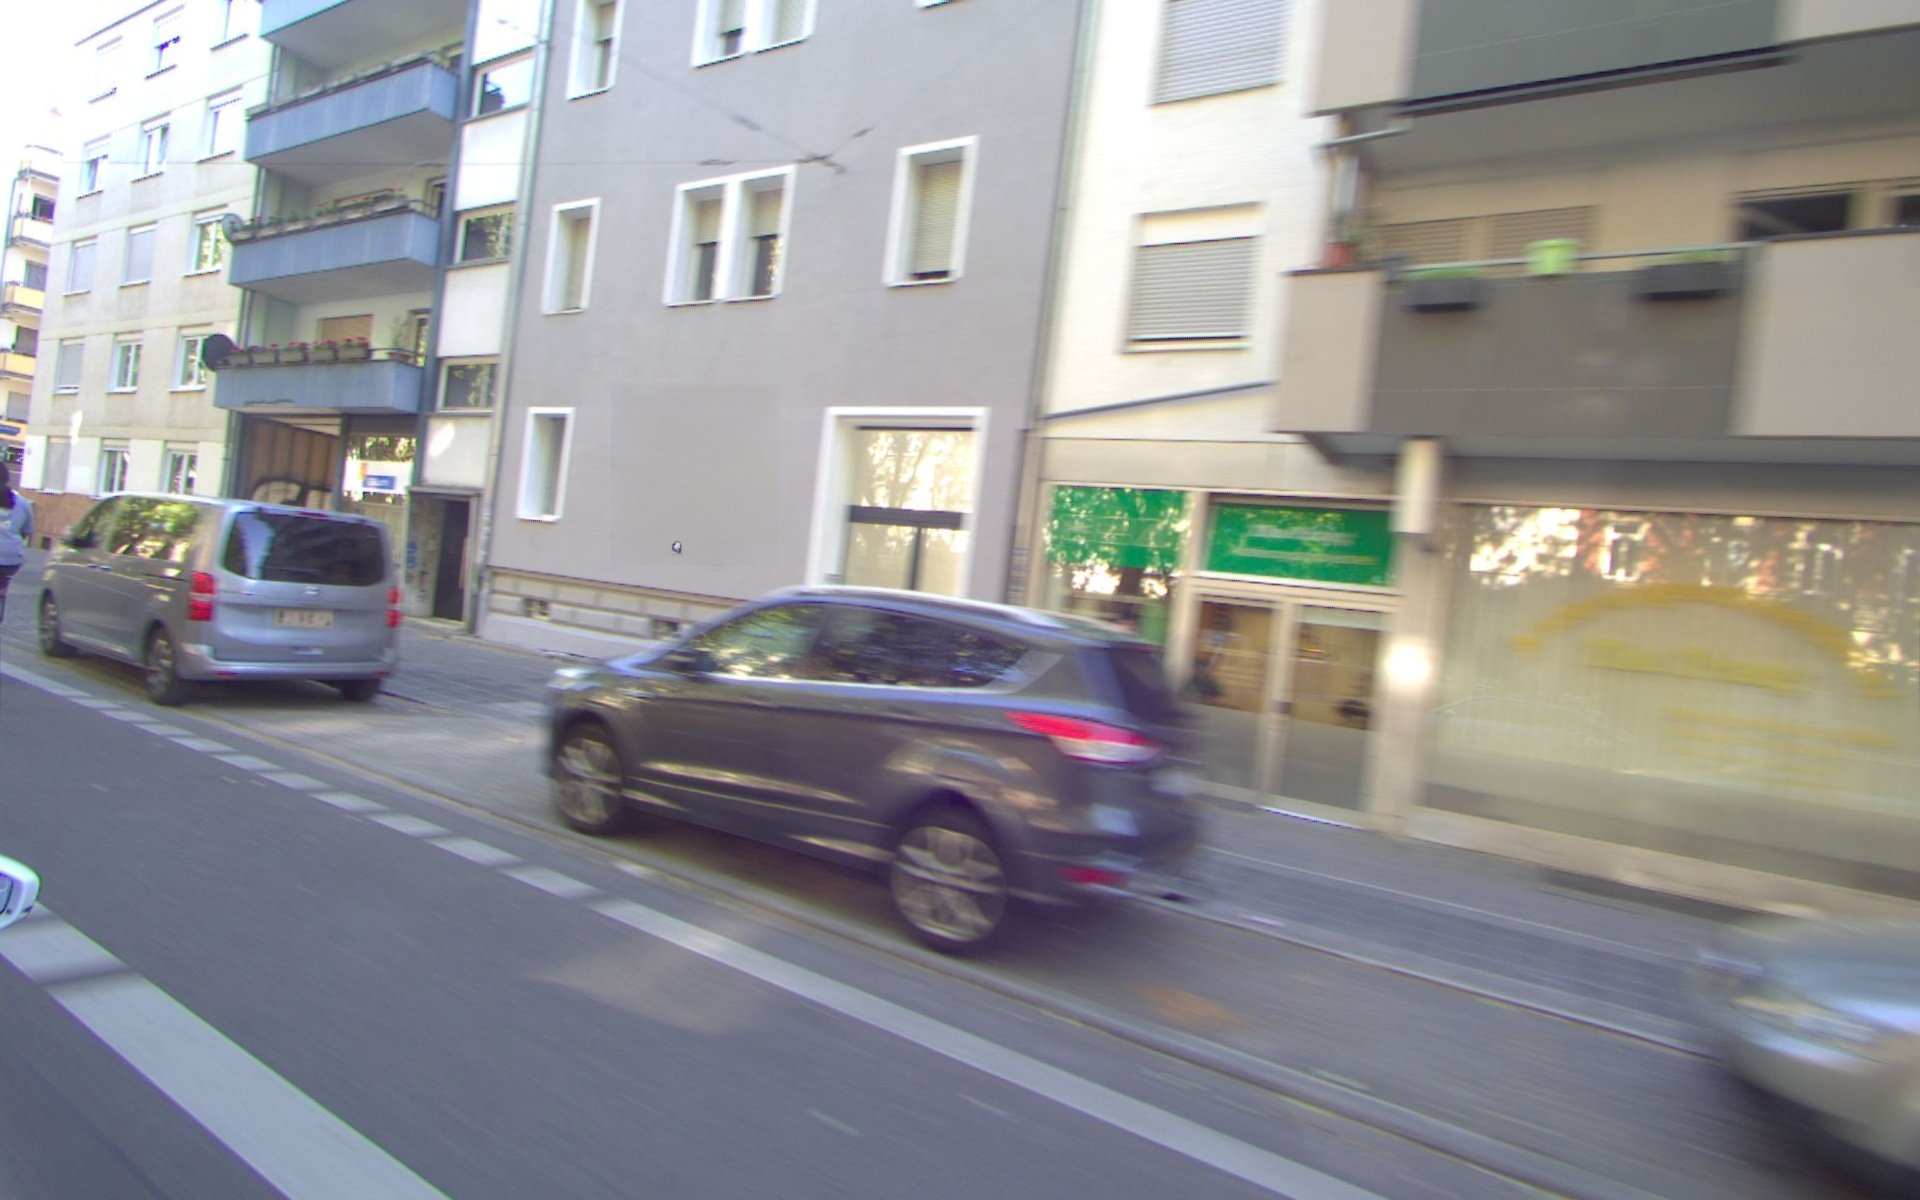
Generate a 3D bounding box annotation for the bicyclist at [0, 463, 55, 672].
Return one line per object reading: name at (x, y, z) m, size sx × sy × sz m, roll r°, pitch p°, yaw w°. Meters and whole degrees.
bicyclist at (-8.646, -0.327, 8.749) m, size 0.899 × 1.780 × 0.788 m, roll 7°, pitch 0°, yaw 31°

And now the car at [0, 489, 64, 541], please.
car at (-39.798, -3.663, 41.019) m, size 1.965 × 1.852 × 4.369 m, roll 7°, pitch -1°, yaw 28°

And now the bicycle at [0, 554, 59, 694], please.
bicycle at (-8.717, 0.121, 8.728) m, size 1.957 × 1.104 × 0.702 m, roll 6°, pitch -3°, yaw 32°

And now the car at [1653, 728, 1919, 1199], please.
car at (4.748, 1.508, 2.806) m, size 4.440 × 1.544 × 1.726 m, roll 7°, pitch -1°, yaw 34°

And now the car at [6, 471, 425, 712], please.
car at (-7.915, -0.160, 10.541) m, size 4.845 × 1.912 × 1.860 m, roll 7°, pitch -1°, yaw 34°

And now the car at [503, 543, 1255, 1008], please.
car at (-0.623, 0.766, 6.175) m, size 4.211 × 1.725 × 1.770 m, roll 7°, pitch -1°, yaw 31°

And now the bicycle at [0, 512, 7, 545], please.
bicycle at (-31.511, -2.396, 32.200) m, size 1.934 × 1.028 × 0.804 m, roll 7°, pitch 0°, yaw 27°

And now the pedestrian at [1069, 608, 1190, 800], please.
pedestrian at (1.671, 1.004, 9.892) m, size 0.709 × 1.741 × 0.756 m, roll 7°, pitch 0°, yaw 38°

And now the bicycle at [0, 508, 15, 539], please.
bicycle at (-36.850, -2.984, 37.855) m, size 0.605 × 1.130 × 1.768 m, roll 7°, pitch -1°, yaw 45°
